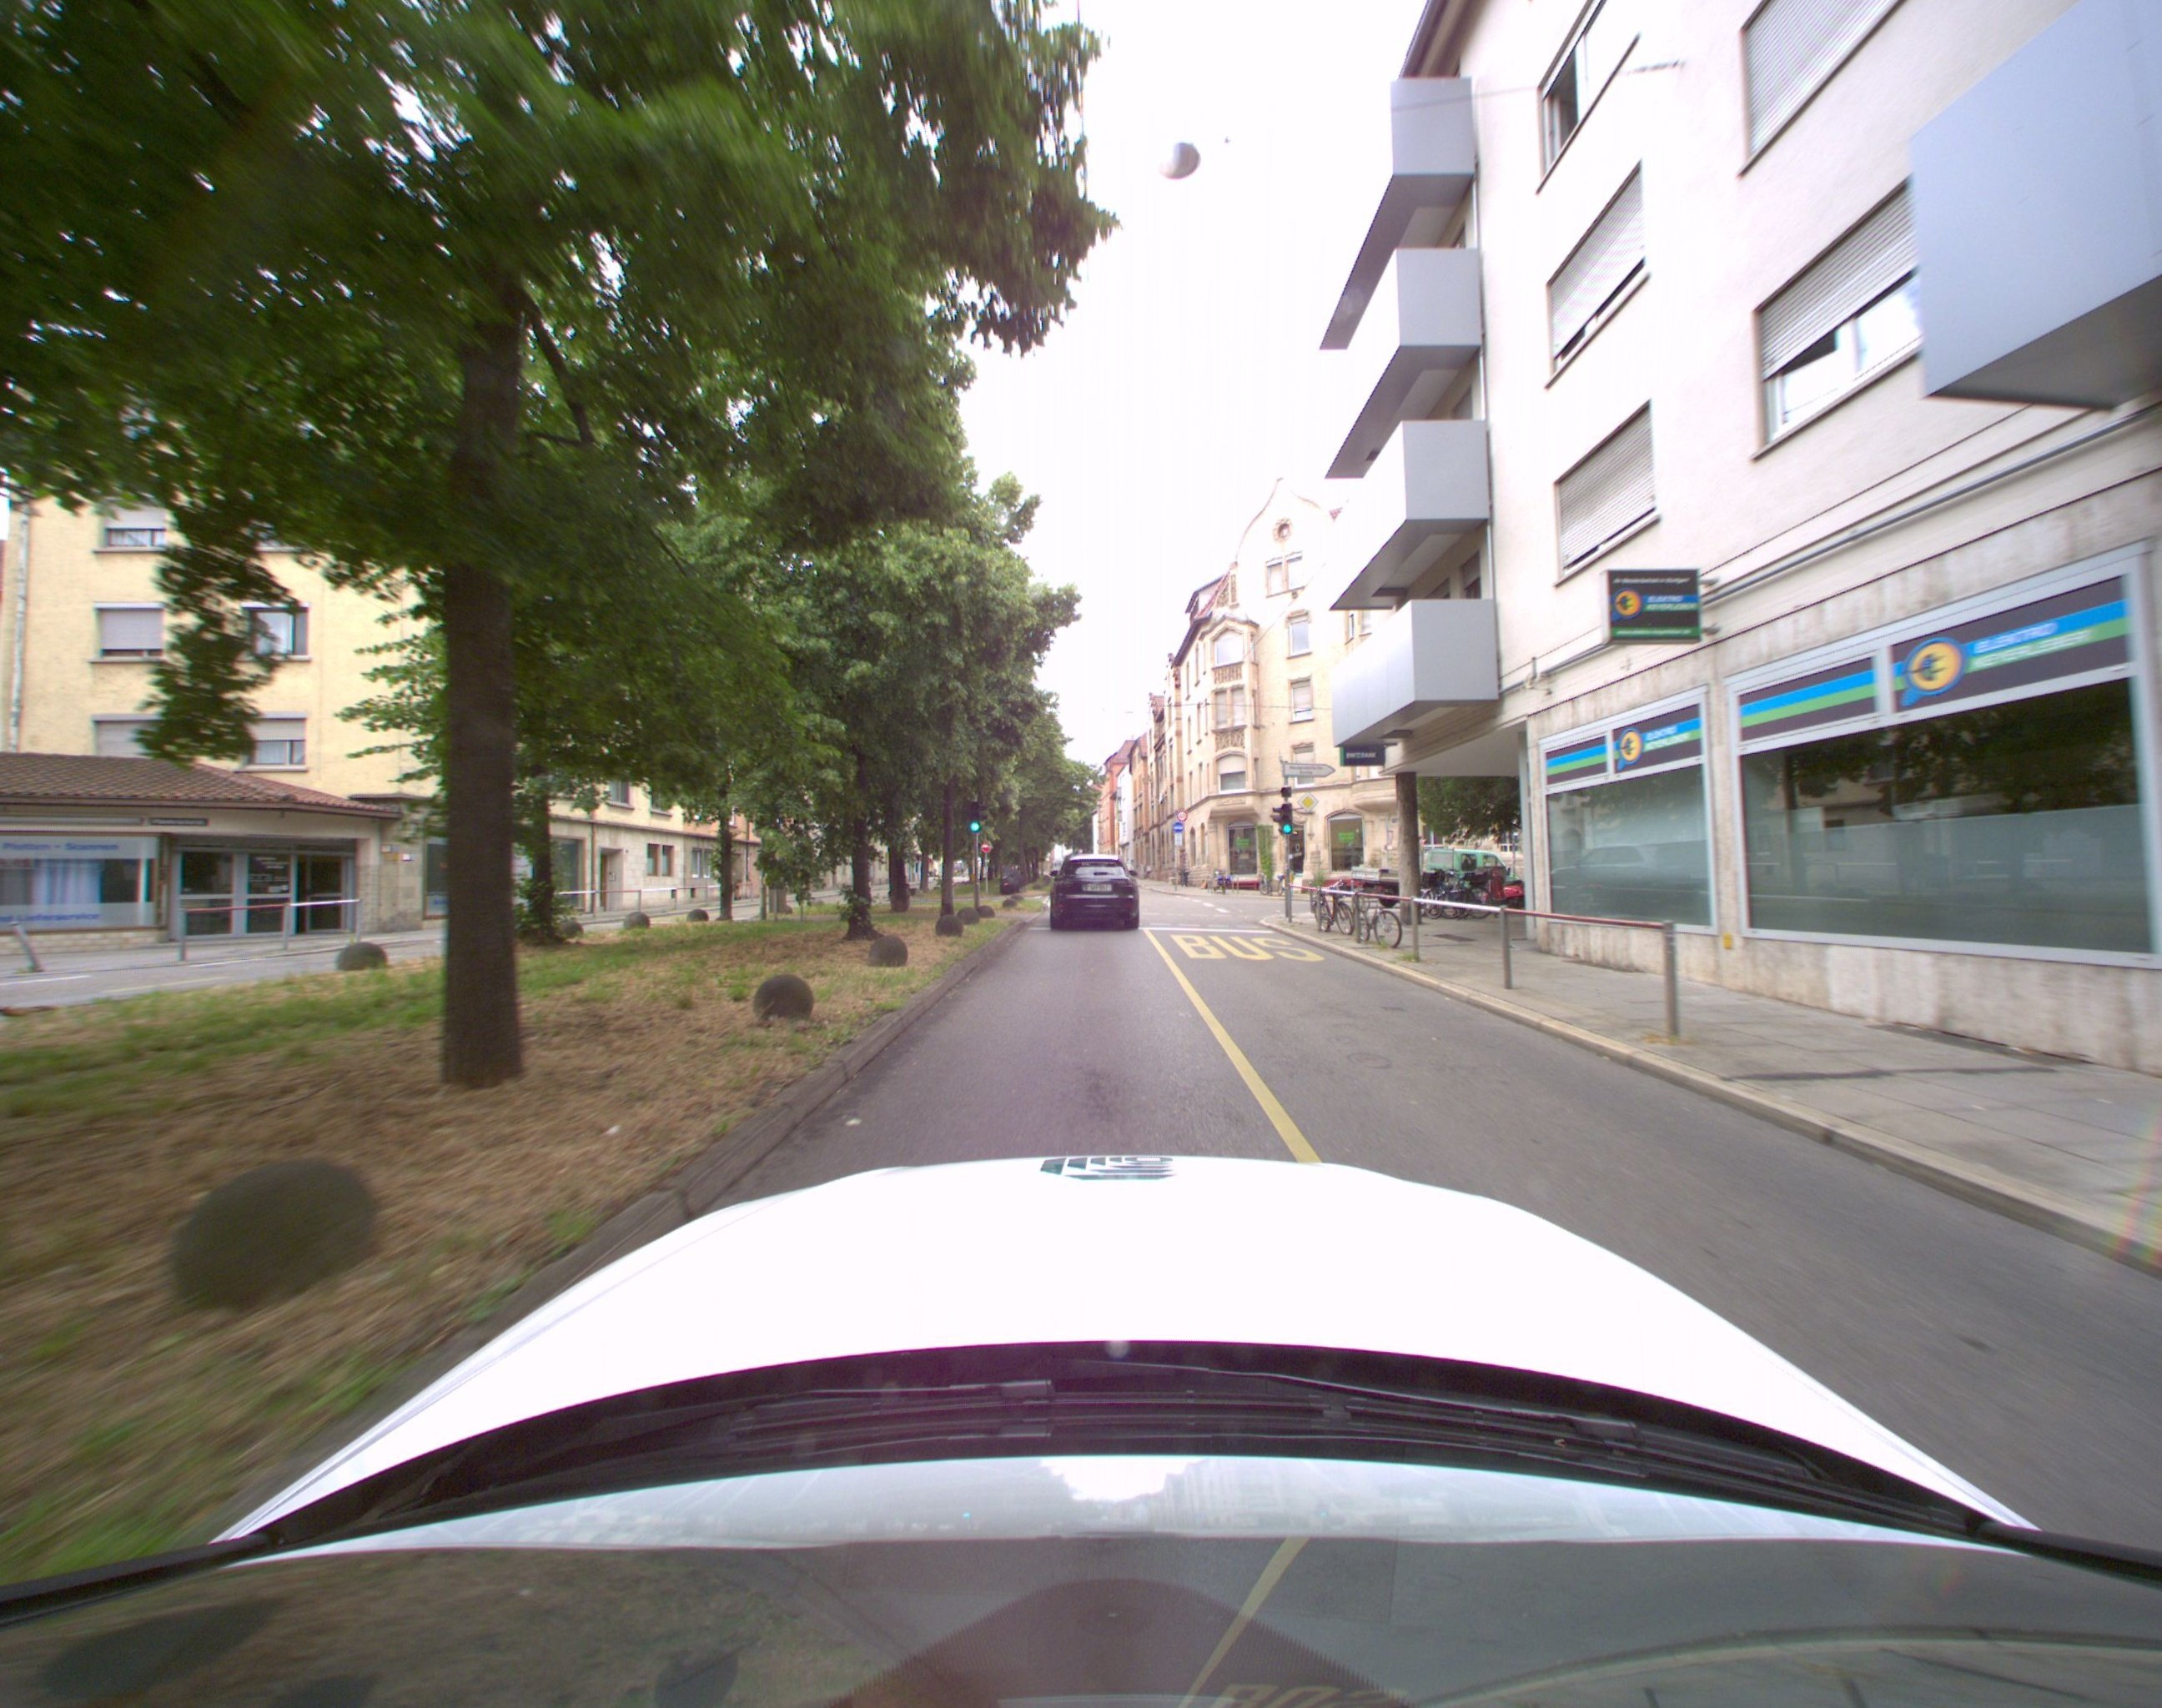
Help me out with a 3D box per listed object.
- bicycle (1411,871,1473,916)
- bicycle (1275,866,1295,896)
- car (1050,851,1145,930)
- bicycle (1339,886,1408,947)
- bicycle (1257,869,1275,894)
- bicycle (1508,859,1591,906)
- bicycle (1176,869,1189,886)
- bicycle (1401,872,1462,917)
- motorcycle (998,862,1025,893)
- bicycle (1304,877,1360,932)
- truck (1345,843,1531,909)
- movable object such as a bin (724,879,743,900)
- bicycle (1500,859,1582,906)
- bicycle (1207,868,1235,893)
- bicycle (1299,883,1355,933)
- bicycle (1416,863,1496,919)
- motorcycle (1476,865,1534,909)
[{"bbox_3d":[8.794,0.945,19.919,0.319,1.043,1.751,0,-1,-16],"label":"bicycle"},{"bbox_3d":[9.176,1.211,36.695,0.445,1.161,1.834,-2,4,0],"label":"bicycle"},{"bbox_3d":[0.286,0.772,19.134,1.988,1.665,3.997,0,0,-2],"label":"car"},{"bbox_3d":[4.945,1.027,13.891,0.567,0.931,1.775,-1,-1,1],"label":"bicycle"},{"bbox_3d":[8.406,1.248,37.000,0.347,1.059,1.834,2,0,0],"label":"bicycle"},{"bbox_3d":[12.446,0.752,21.741,0.278,1.187,2.313,0,-1,-18],"label":"bicycle"},{"bbox_3d":[6.223,1.443,49.946,0.445,1.037,2.247,-2,-2,0],"label":"bicycle"},{"bbox_3d":[8.497,0.961,19.818,0.319,1.043,1.751,0,-1,-16],"label":"bicycle"},{"bbox_3d":[-3.383,1.142,39.815,1.016,1.446,2.247,-3,-1,1],"label":"motorcycle"},{"bbox_3d":[5.142,1.012,16.750,0.286,1.054,1.754,0,-1,-11],"label":"bicycle"},{"bbox_3d":[12.335,0.757,28.349,5.557,2.133,2.374,1,-1,-9],"label":"truck"},{"bbox_3d":[-17.679,1.811,41.452,0.690,1.060,0.689,0,-2,-4],"label":"movable object such as a bin"},{"bbox_3d":[12.167,0.752,21.647,0.278,1.187,2.313,0,-1,-18],"label":"bicycle"},{"bbox_3d":[6.643,1.249,38.727,0.876,1.129,2.979,-1,-1,1],"label":"bicycle"},{"bbox_3d":[4.933,1.069,16.430,0.286,0.931,1.754,0,-1,-11],"label":"bicycle"},{"bbox_3d":[8.486,0.821,18.501,0.320,1.199,1.743,0,-2,-31],"label":"bicycle"},{"bbox_3d":[10.962,0.835,21.105,0.568,1.106,1.802,-1,-1,1],"label":"motorcycle"}]
